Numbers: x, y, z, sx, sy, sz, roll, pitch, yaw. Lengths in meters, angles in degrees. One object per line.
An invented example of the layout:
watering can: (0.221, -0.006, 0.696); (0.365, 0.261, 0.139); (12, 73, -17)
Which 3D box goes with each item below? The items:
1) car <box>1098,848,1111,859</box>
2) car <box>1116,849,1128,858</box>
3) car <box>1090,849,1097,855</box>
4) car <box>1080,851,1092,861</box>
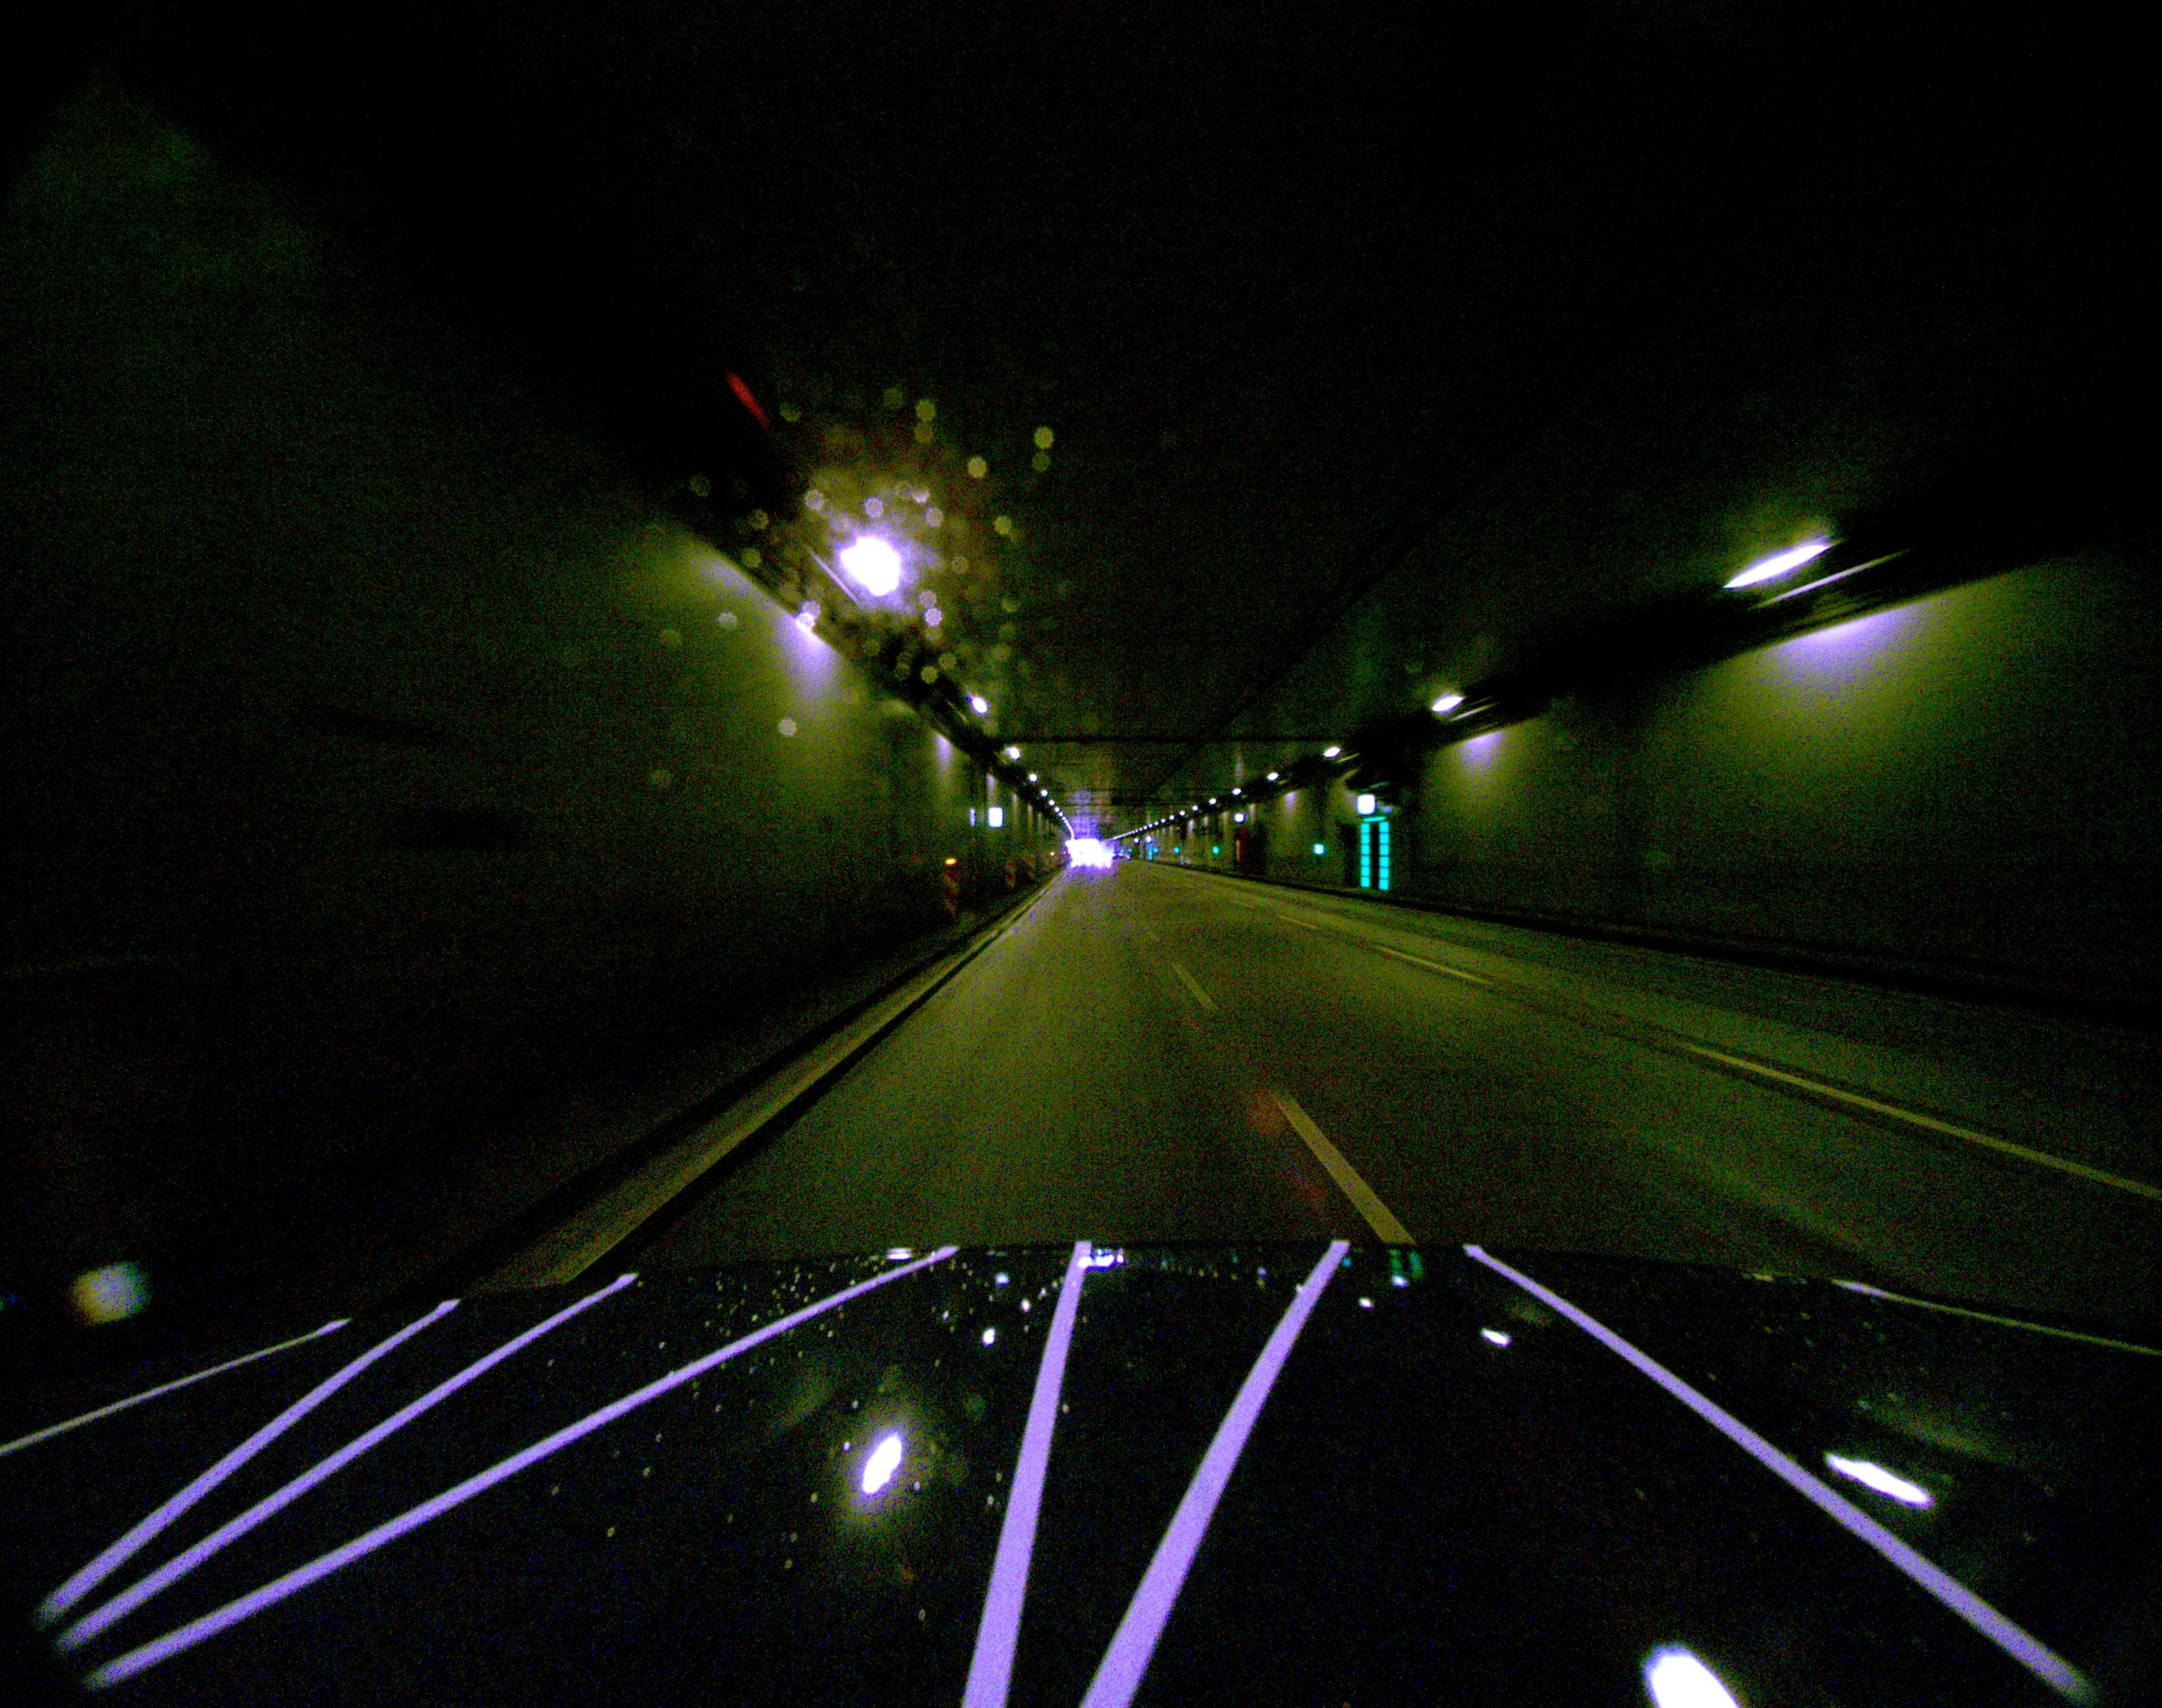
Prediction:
car: (3.887, -0.043, 123.787); (1.998, 1.686, 4.000); (-3, 0, 2)
car: (7.688, -0.121, 141.811); (1.998, 1.685, 4.000); (-2, 0, 1)
car: (3.437, -0.541, 212.797); (1.998, 1.756, 4.000); (-2, 1, 1)
car: (0.969, 0.349, 134.747); (1.998, 1.686, 4.000); (-2, 1, 1)
